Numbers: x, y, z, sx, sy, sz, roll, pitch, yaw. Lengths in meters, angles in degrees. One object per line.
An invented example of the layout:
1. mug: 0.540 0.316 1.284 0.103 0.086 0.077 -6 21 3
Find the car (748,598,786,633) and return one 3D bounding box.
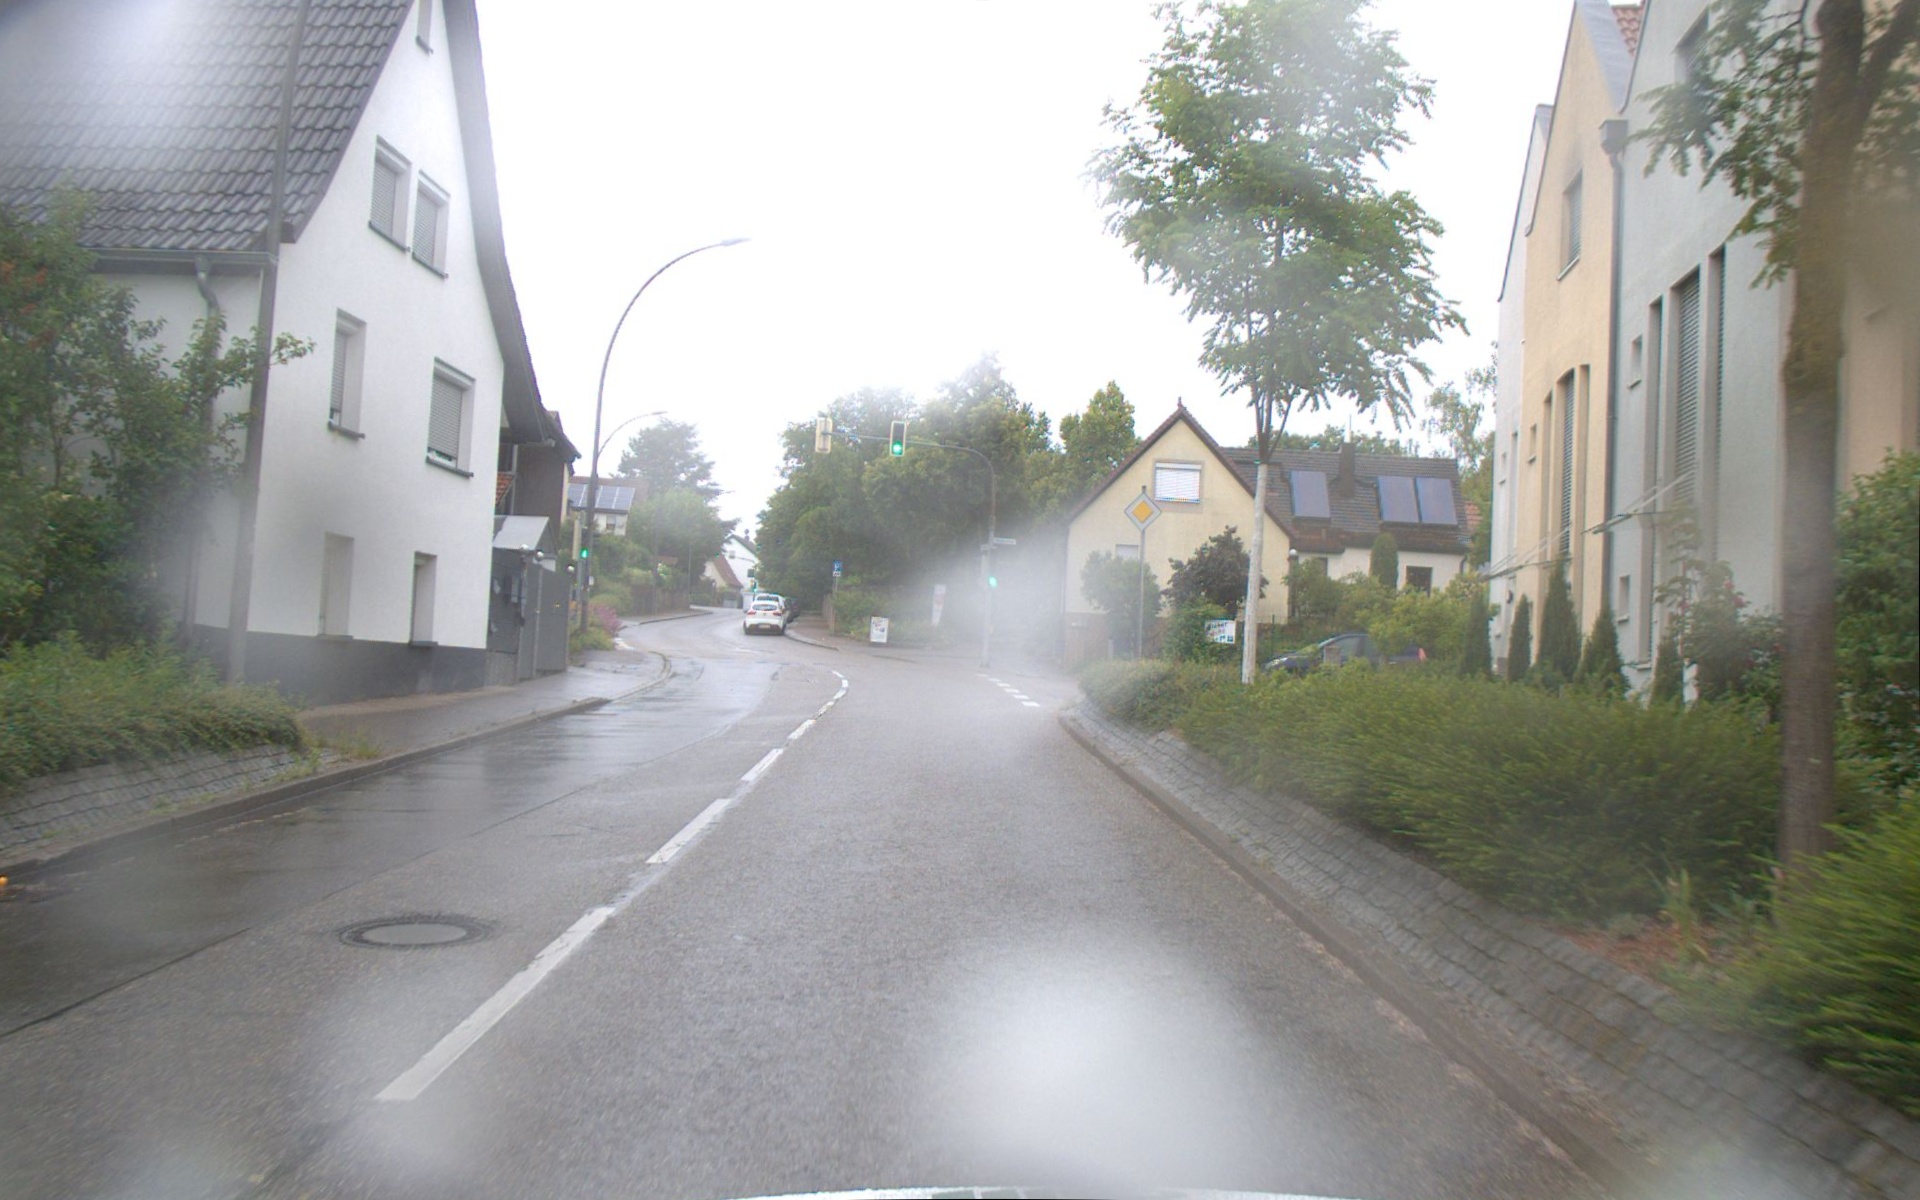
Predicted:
1. car: -8.815 0.694 75.575 1.581 1.506 4.032 3 -1 -7

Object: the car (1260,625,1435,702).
1. car: 9.508 1.555 40.825 4.044 1.613 1.866 3 -2 10

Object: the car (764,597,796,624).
1. car: -11.777 0.698 108.356 1.779 1.601 3.877 3 -1 -3

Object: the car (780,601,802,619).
1. car: -13.763 0.784 134.346 1.620 1.395 4.175 3 0 -7

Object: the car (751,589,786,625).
1. car: -10.003 0.392 86.588 1.605 1.771 4.132 3 -1 -4
